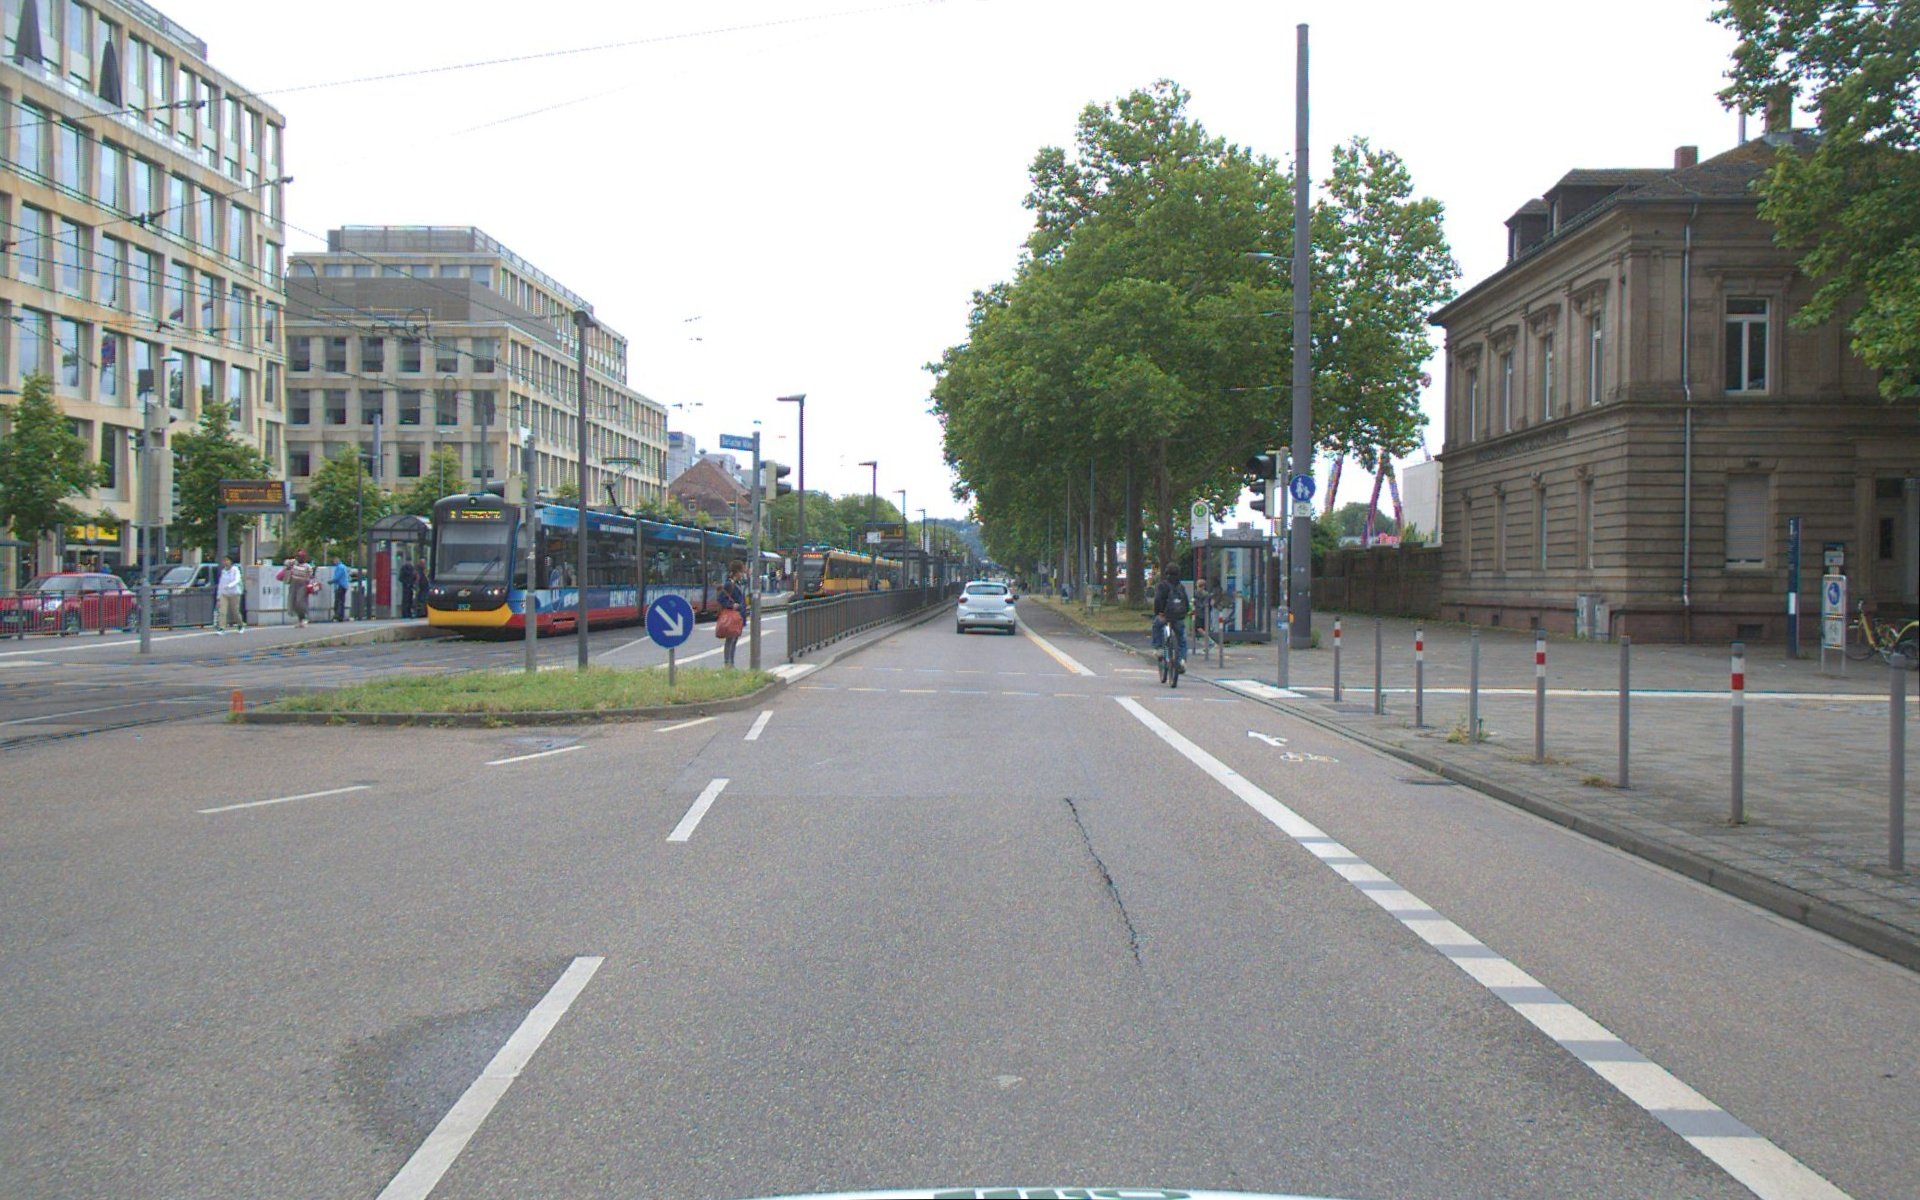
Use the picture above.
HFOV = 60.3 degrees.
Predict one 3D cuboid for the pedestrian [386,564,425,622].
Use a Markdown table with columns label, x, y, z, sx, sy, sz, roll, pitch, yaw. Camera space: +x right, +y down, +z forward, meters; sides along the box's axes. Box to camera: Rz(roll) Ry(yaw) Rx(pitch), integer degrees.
| label | x | y | z | sx | sy | sz | roll | pitch | yaw |
| --- | --- | --- | --- | --- | --- | --- | --- | --- | --- |
| pedestrian | -15.726 | -0.197 | 46.961 | 0.828 | 1.613 | 0.910 | 0 | 0 | -3 |

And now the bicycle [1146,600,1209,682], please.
| label | x | y | z | sx | sy | sz | roll | pitch | yaw |
| --- | --- | --- | --- | --- | --- | --- | --- | --- | --- |
| bicycle | 3.259 | 0.591 | 24.923 | 0.639 | 1.170 | 2.283 | 0 | 0 | 0 |

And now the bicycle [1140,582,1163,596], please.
| label | x | y | z | sx | sy | sz | roll | pitch | yaw |
| --- | --- | --- | --- | --- | --- | --- | --- | --- | --- |
| bicycle | 15.831 | -0.933 | 136.621 | 1.861 | 1.116 | 0.550 | -2 | 0 | 0 |

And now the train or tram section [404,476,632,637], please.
| label | x | y | z | sx | sy | sz | roll | pitch | yaw |
| --- | --- | --- | --- | --- | --- | --- | --- | --- | --- |
| train or tram section | -11.326 | -1.000 | 43.932 | 2.796 | 3.704 | 11.766 | 0 | 0 | 1 |

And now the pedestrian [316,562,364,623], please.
| label | x | y | z | sx | sy | sz | roll | pitch | yaw |
| --- | --- | --- | --- | --- | --- | --- | --- | --- | --- |
| pedestrian | -16.512 | -0.198 | 44.082 | 0.827 | 1.613 | 0.911 | 0 | 0 | 15 |

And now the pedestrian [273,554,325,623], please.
| label | x | y | z | sx | sy | sz | roll | pitch | yaw |
| --- | --- | --- | --- | --- | --- | --- | --- | --- | --- |
| pedestrian | -15.529 | -0.264 | 38.869 | 0.889 | 1.613 | 0.848 | 0 | 0 | -1 |

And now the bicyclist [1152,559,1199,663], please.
| label | x | y | z | sx | sy | sz | roll | pitch | yaw |
| --- | --- | --- | --- | --- | --- | --- | --- | --- | --- |
| bicyclist | 3.256 | 0.161 | 25.029 | 0.628 | 1.557 | 0.664 | 0 | 0 | -1 |

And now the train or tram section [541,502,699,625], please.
| label | x | y | z | sx | sy | sz | roll | pitch | yaw |
| --- | --- | --- | --- | --- | --- | --- | --- | --- | --- |
| train or tram section | -11.164 | -1.106 | 55.636 | 2.796 | 3.704 | 11.700 | 0 | 0 | 1 |

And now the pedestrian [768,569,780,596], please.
| label | x | y | z | sx | sy | sz | roll | pitch | yaw |
| --- | --- | --- | --- | --- | --- | --- | --- | --- | --- |
| pedestrian | -12.770 | -1.197 | 113.581 | 0.697 | 1.827 | 1.160 | 0 | 0 | 0 |

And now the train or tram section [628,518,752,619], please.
| label | x | y | z | sx | sy | sz | roll | pitch | yaw |
| --- | --- | --- | --- | --- | --- | --- | --- | --- | --- |
| train or tram section | -10.882 | -1.153 | 68.253 | 2.796 | 3.756 | 13.521 | 0 | 0 | 1 |

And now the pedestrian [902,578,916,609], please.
| label | x | y | z | sx | sy | sz | roll | pitch | yaw |
| --- | --- | --- | --- | --- | --- | --- | --- | --- | --- |
| pedestrian | -2.305 | -0.296 | 74.481 | 0.598 | 1.364 | 0.600 | 0 | 0 | 2 |

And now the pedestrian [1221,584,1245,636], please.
| label | x | y | z | sx | sy | sz | roll | pitch | yaw |
| --- | --- | --- | --- | --- | --- | --- | --- | --- | --- |
| pedestrian | 6.600 | 0.235 | 40.019 | 0.466 | 1.255 | 0.702 | 0 | 0 | 1 |

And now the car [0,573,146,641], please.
| label | x | y | z | sx | sy | sz | roll | pitch | yaw |
| --- | --- | --- | --- | --- | --- | --- | --- | --- | --- |
| car | -20.359 | 0.123 | 37.756 | 1.703 | 1.474 | 3.769 | 0 | 1 | 0 |

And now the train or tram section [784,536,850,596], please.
| label | x | y | z | sx | sy | sz | roll | pitch | yaw |
| --- | --- | --- | --- | --- | --- | --- | --- | --- | --- |
| train or tram section | -9.741 | -2.246 | 114.019 | 3.170 | 3.929 | 11.314 | 0 | 0 | 2 |

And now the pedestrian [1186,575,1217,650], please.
| label | x | y | z | sx | sy | sz | roll | pitch | yaw |
| --- | --- | --- | --- | --- | --- | --- | --- | --- | --- |
| pedestrian | 5.072 | 0.262 | 34.756 | 0.540 | 1.555 | 0.638 | 0 | 0 | 19 |

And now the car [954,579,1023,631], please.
| label | x | y | z | sx | sy | sz | roll | pitch | yaw |
| --- | --- | --- | --- | --- | --- | --- | --- | --- | --- |
| car | 0.876 | 0.138 | 49.214 | 1.846 | 1.478 | 4.002 | 0 | 0 | 4 |

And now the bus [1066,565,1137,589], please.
| label | x | y | z | sx | sy | sz | roll | pitch | yaw |
| --- | --- | --- | --- | --- | --- | --- | --- | --- | --- |
| bus | 18.276 | -2.994 | 213.835 | 9.088 | 3.011 | 2.000 | 0 | 0 | -1 |

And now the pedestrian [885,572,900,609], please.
| label | x | y | z | sx | sy | sz | roll | pitch | yaw |
| --- | --- | --- | --- | --- | --- | --- | --- | --- | --- |
| pedestrian | -3.392 | -0.486 | 82.527 | 0.657 | 1.825 | 1.111 | 0 | 0 | -7 |

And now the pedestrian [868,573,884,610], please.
| label | x | y | z | sx | sy | sz | roll | pitch | yaw |
| --- | --- | --- | --- | --- | --- | --- | --- | --- | --- |
| pedestrian | -4.143 | -0.435 | 81.652 | 0.658 | 1.825 | 1.110 | 0 | 0 | -11 |

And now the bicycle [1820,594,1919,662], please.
| label | x | y | z | sx | sy | sz | roll | pitch | yaw |
| --- | --- | --- | --- | --- | --- | --- | --- | --- | --- |
| bicycle | 17.893 | 0.506 | 31.823 | 0.882 | 1.086 | 3.407 | 0 | 3 | 0 |

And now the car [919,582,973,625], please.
| label | x | y | z | sx | sy | sz | roll | pitch | yaw |
| --- | --- | --- | --- | --- | --- | --- | --- | --- | --- |
| car | -0.502 | 0.096 | 63.368 | 1.802 | 1.579 | 4.002 | 1 | 0 | 3 |

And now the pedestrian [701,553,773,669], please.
| label | x | y | z | sx | sy | sz | roll | pitch | yaw |
| --- | --- | --- | --- | --- | --- | --- | --- | --- | --- |
| pedestrian | -3.277 | 0.159 | 24.289 | 0.853 | 1.671 | 0.643 | 0 | 0 | -41 |

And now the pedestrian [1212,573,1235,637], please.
| label | x | y | z | sx | sy | sz | roll | pitch | yaw |
| --- | --- | --- | --- | --- | --- | --- | --- | --- | --- |
| pedestrian | 6.565 | 0.131 | 41.264 | 0.466 | 1.590 | 0.702 | 0 | 0 | 1 |

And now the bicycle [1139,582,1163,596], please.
| label | x | y | z | sx | sy | sz | roll | pitch | yaw |
| --- | --- | --- | --- | --- | --- | --- | --- | --- | --- |
| bicycle | 15.676 | -0.919 | 135.876 | 1.851 | 1.124 | 0.550 | -2 | 0 | 0 |

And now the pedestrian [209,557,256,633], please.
| label | x | y | z | sx | sy | sz | roll | pitch | yaw |
| --- | --- | --- | --- | --- | --- | --- | --- | --- | --- |
| pedestrian | -15.716 | -0.104 | 35.739 | 0.693 | 1.613 | 0.766 | 0 | 0 | -1 |
